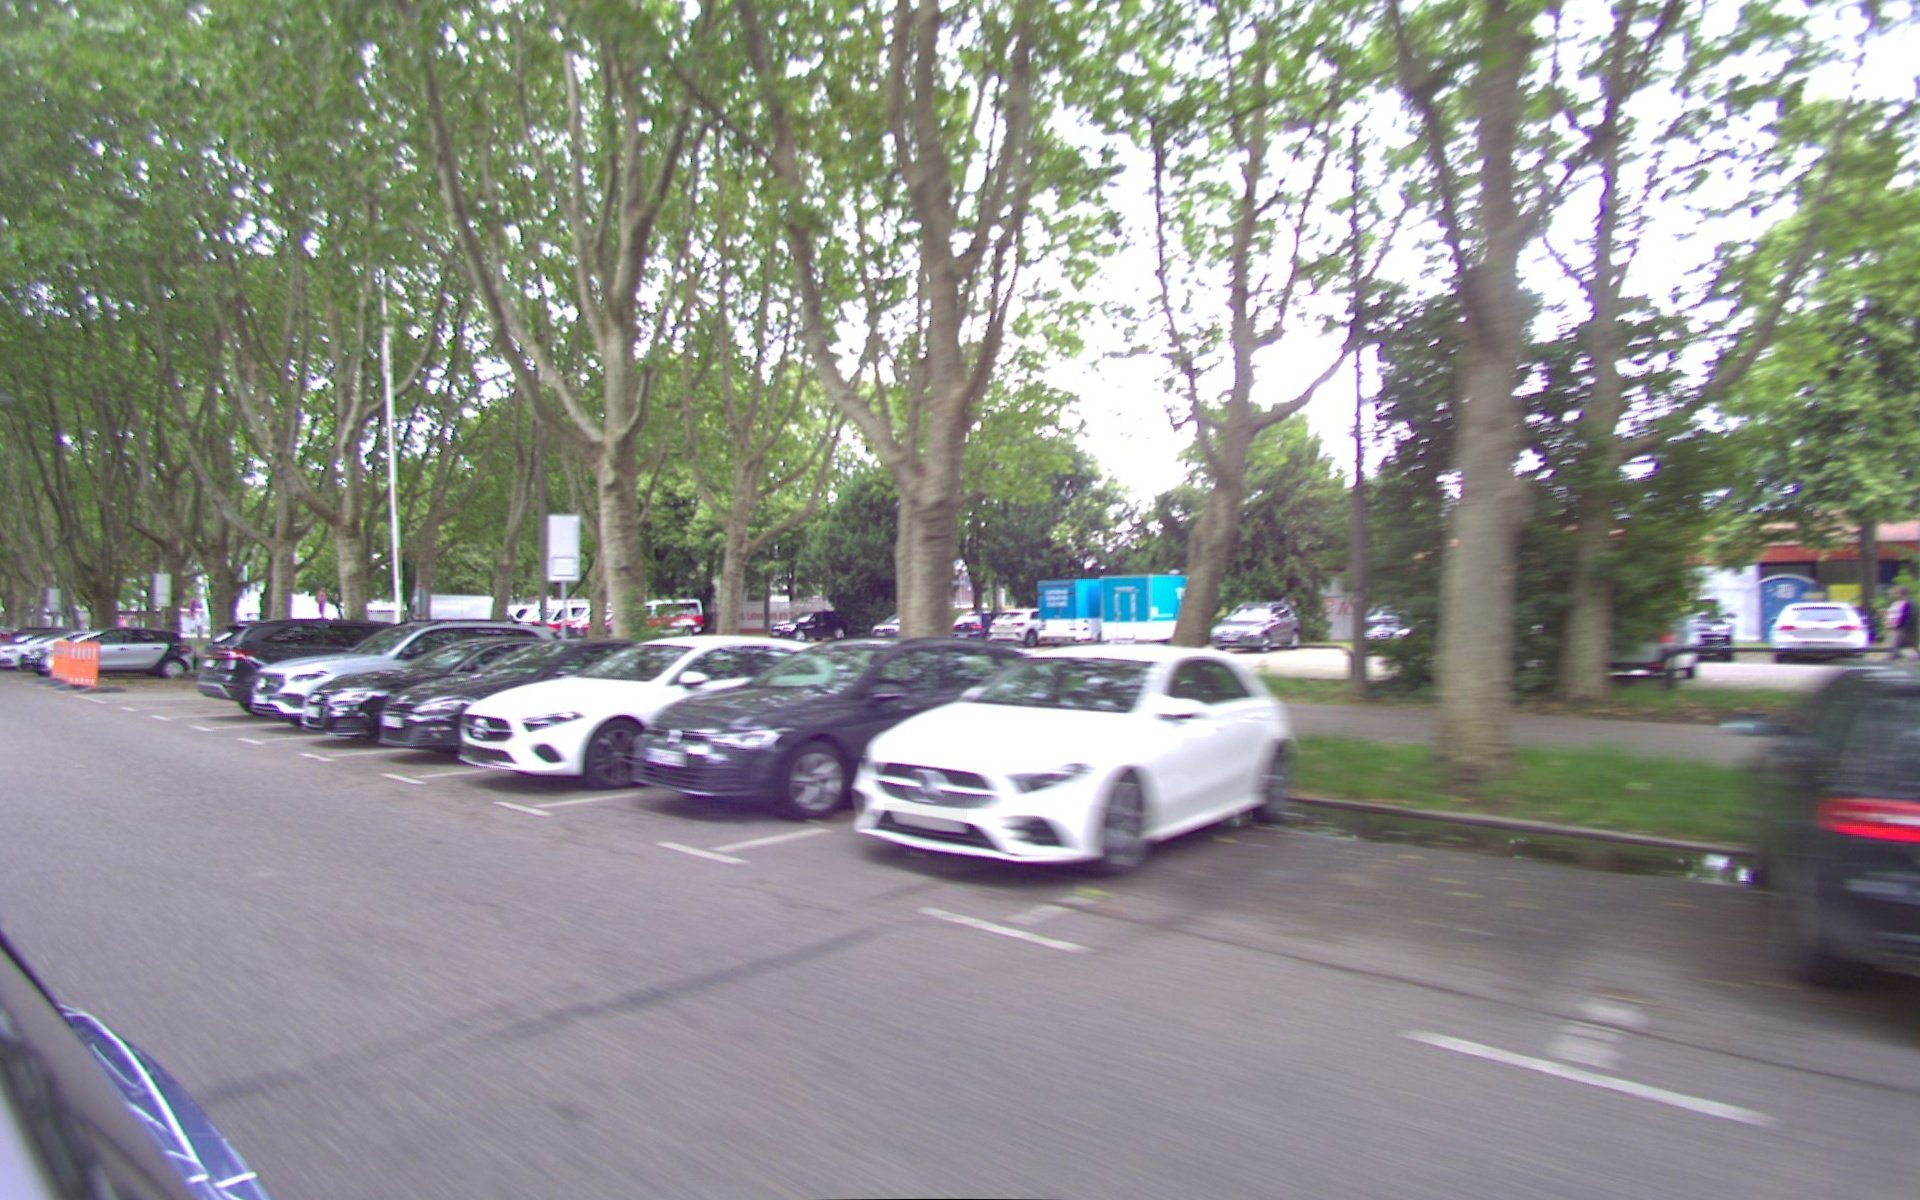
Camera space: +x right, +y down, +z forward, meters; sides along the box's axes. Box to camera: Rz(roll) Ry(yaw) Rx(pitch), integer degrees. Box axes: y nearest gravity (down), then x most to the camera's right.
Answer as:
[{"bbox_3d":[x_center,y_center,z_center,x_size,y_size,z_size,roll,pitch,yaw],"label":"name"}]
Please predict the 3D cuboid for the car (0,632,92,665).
[{"bbox_3d":[-38.640,2.006,41.824,2.000,1.320,3.943,-3,-4,42],"label":"car"}]

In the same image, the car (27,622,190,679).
[{"bbox_3d":[-25.563,1.515,30.442,1.847,1.590,3.518,-2,-4,42],"label":"car"}]

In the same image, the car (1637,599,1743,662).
[{"bbox_3d":[19.256,0.760,26.637,1.936,1.521,3.946,-2,-1,41],"label":"car"}]

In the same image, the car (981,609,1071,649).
[{"bbox_3d":[2.736,1.150,41.305,1.732,1.519,3.948,-1,0,39],"label":"car"}]

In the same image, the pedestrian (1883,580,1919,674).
[{"bbox_3d":[18.647,0.516,19.734,0.917,1.814,0.808,-1,0,41],"label":"pedestrian"}]

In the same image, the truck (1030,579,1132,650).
[{"bbox_3d":[4.800,0.531,39.735,2.121,2.628,3.945,-1,0,41],"label":"truck"}]

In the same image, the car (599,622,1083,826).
[{"bbox_3d":[-0.846,0.968,9.351,1.783,1.428,4.360,-2,-3,42],"label":"car"}]

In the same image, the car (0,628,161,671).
[{"bbox_3d":[-31.244,1.748,35.685,2.090,1.445,4.515,-2,-4,42],"label":"car"}]

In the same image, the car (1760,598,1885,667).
[{"bbox_3d":[21.320,0.721,25.156,2.181,1.532,4.892,-1,0,39],"label":"car"}]

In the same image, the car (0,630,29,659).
[{"bbox_3d":[-48.673,2.192,49.862,2.000,1.442,3.943,-3,-4,42],"label":"car"}]

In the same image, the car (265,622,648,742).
[{"bbox_3d":[-6.872,1.063,14.239,2.044,1.406,4.366,-2,-3,37],"label":"car"}]

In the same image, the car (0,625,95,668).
[{"bbox_3d":[-35.300,1.754,38.220,1.847,1.581,3.797,-2,-4,42],"label":"car"}]

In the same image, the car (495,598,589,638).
[{"bbox_3d":[-28.137,1.163,68.329,2.390,2.536,5.399,-1,0,38],"label":"car"}]

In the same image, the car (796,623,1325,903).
[{"bbox_3d":[1.057,0.948,7.653,2.044,1.455,4.367,-2,-3,37],"label":"car"}]

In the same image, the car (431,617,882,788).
[{"bbox_3d":[-2.975,0.959,10.788,1.774,1.435,4.364,-2,-3,39],"label":"car"}]

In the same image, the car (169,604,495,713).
[{"bbox_3d":[-10.739,0.984,17.596,2.044,1.639,4.365,-2,-3,38],"label":"car"}]

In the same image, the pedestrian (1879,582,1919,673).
[{"bbox_3d":[19.242,0.542,20.458,0.917,1.814,0.932,-1,0,41],"label":"pedestrian"}]

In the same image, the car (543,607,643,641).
[{"bbox_3d":[-22.818,1.449,63.156,2.473,2.013,5.399,-1,0,38],"label":"car"}]

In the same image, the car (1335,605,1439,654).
[{"bbox_3d":[13.615,0.917,32.157,1.899,1.407,3.946,-2,-1,41],"label":"car"}]

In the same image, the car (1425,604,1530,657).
[{"bbox_3d":[15.422,0.872,30.067,1.899,1.407,3.946,-2,-1,41],"label":"car"}]

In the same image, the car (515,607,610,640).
[{"bbox_3d":[-26.076,1.493,66.590,2.390,2.036,5.399,-1,0,38],"label":"car"}]

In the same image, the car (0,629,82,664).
[{"bbox_3d":[-40.707,2.016,43.729,2.000,1.482,3.943,-3,-4,42],"label":"car"}]

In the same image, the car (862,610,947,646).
[{"bbox_3d":[-2.484,1.252,46.103,1.797,1.498,3.951,-1,0,36],"label":"car"}]

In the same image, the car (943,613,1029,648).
[{"bbox_3d":[1.155,1.255,43.100,1.727,1.387,3.966,-1,0,36],"label":"car"}]

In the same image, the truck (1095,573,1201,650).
[{"bbox_3d":[7.196,0.420,38.581,2.374,2.737,3.947,-1,0,39],"label":"truck"}]

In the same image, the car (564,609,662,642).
[{"bbox_3d":[-21.000,1.501,61.415,1.997,1.864,5.399,-1,0,38],"label":"car"}]

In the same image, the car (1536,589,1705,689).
[{"bbox_3d":[12.503,0.630,18.989,2.093,1.608,5.295,-1,0,39],"label":"car"}]

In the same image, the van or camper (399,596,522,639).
[{"bbox_3d":[-25.623,0.863,52.092,2.241,2.115,5.234,-1,0,38],"label":"van or camper"}]

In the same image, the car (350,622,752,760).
[{"bbox_3d":[-4.856,1.028,12.617,1.722,1.406,4.365,-2,-3,38],"label":"car"}]

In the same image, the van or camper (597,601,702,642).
[{"bbox_3d":[-18.452,1.243,60.391,2.328,2.272,5.647,-1,0,40],"label":"van or camper"}]

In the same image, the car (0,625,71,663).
[{"bbox_3d":[-42.607,1.986,45.324,2.000,1.641,3.975,-3,-4,42],"label":"car"}]

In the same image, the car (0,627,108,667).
[{"bbox_3d":[-36.854,1.870,40.521,1.873,1.525,3.943,-2,-4,42],"label":"car"}]

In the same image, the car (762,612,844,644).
[{"bbox_3d":[-7.818,1.364,50.638,1.797,1.498,3.951,-1,0,36],"label":"car"}]

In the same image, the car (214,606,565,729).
[{"bbox_3d":[-8.745,1.005,15.938,2.040,1.639,4.374,-1,-3,31],"label":"car"}]

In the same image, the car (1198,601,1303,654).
[{"bbox_3d":[9.995,0.892,34.655,1.989,1.674,3.946,-1,0,41],"label":"car"}]

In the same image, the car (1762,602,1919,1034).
[{"bbox_3d":[5.094,0.750,4.657,1.851,1.464,3.954,-1,0,34],"label":"car"}]

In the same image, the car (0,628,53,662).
[{"bbox_3d":[-44.511,2.072,46.518,1.799,1.539,3.986,-3,-4,42],"label":"car"}]

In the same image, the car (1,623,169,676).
[{"bbox_3d":[-27.528,1.565,31.927,1.675,1.550,3.797,-2,-4,42],"label":"car"}]

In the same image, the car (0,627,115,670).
[{"bbox_3d":[-33.289,1.755,36.727,1.847,1.486,3.797,-2,-4,42],"label":"car"}]

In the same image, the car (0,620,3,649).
[{"bbox_3d":[-61.242,2.210,61.511,4.431,1.764,2.001,-3,1,-45],"label":"car"}]
